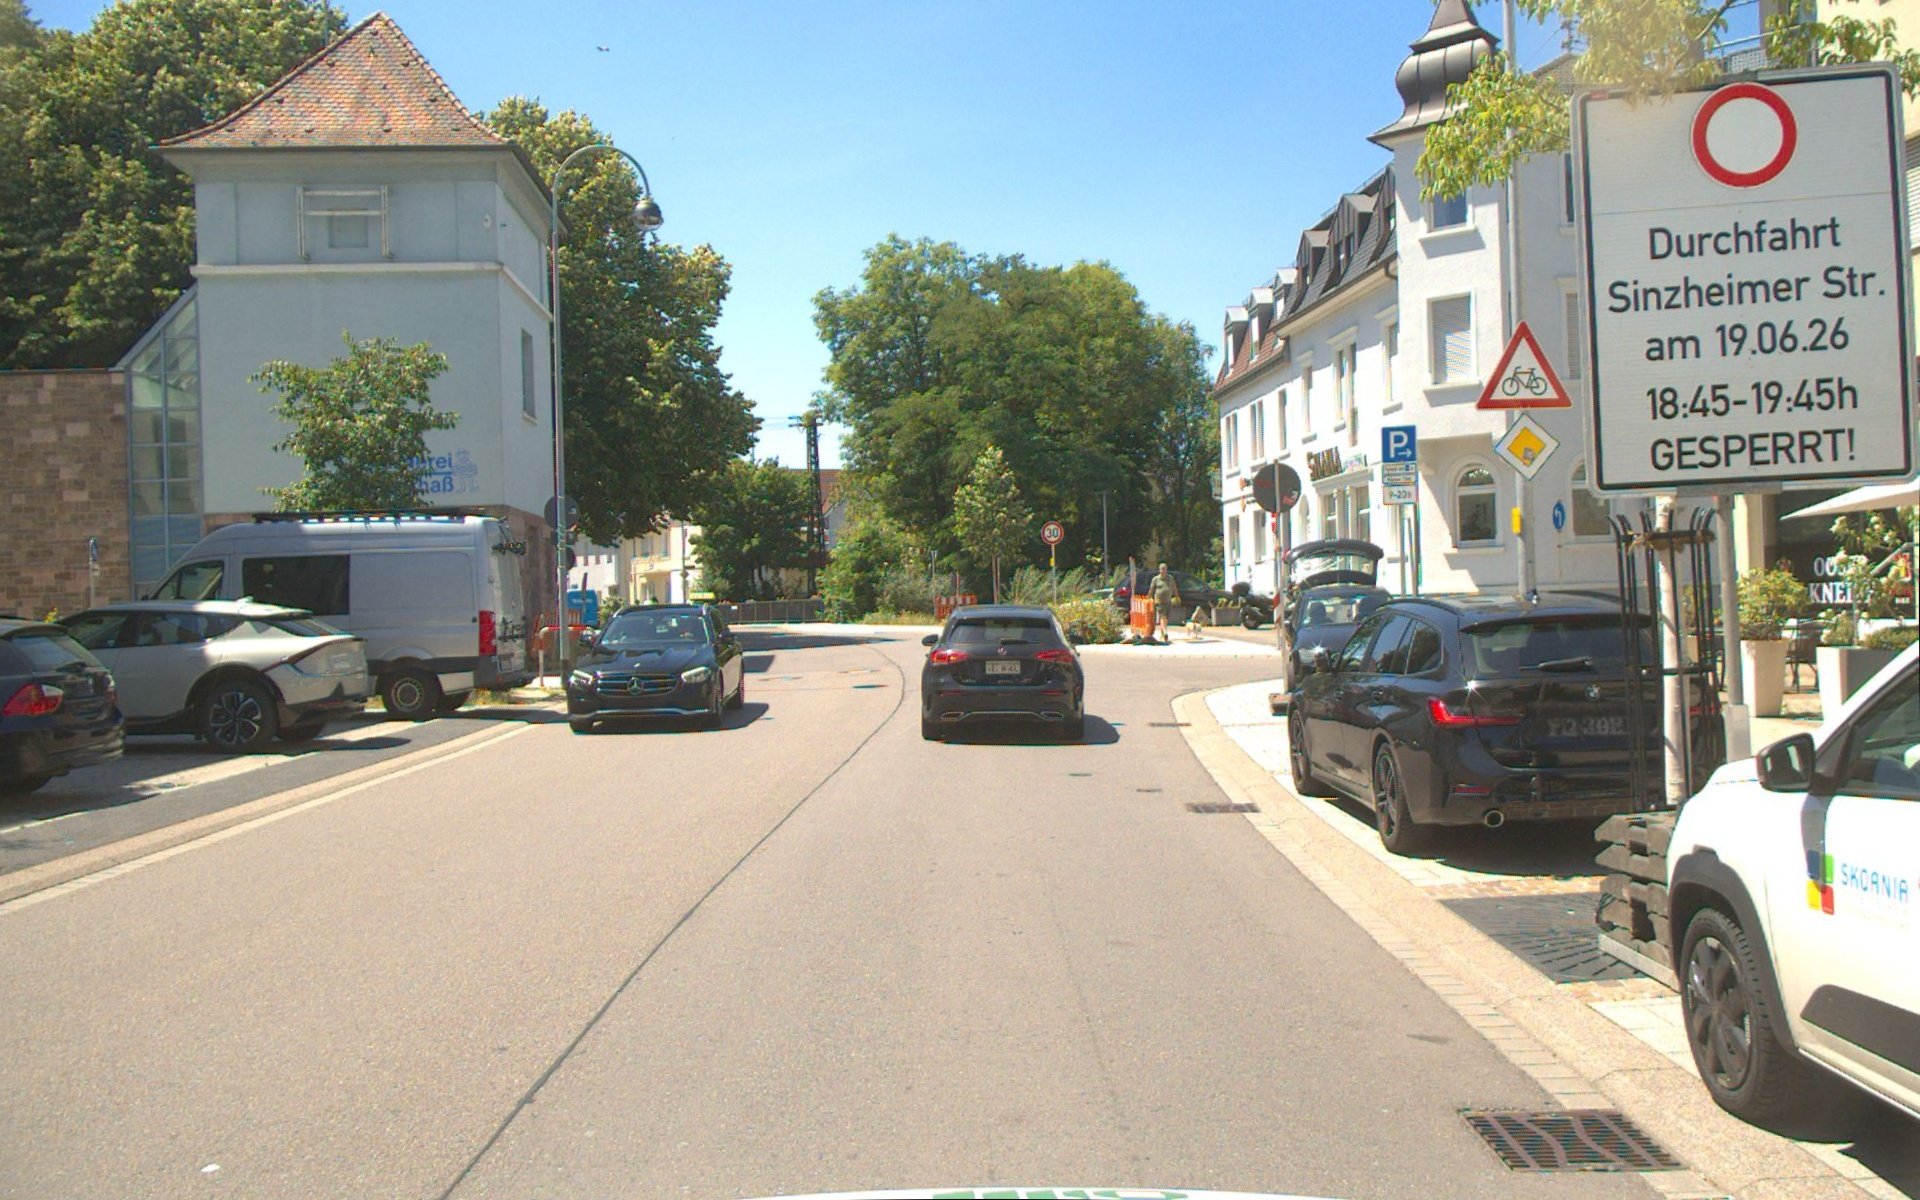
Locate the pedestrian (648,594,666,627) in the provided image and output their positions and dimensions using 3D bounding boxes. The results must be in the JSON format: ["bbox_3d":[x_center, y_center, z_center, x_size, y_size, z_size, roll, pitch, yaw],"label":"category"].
[{"bbox_3d":[-16.682,0.592,91.145,0.690,1.772,0.658,-3,-1,44],"label":"pedestrian"}]

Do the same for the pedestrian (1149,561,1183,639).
[{"bbox_3d":[4.950,-0.018,39.742,0.730,1.827,0.844,-2,1,4],"label":"pedestrian"}]

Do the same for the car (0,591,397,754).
[{"bbox_3d":[-8.532,0.732,17.661,4.365,1.619,1.999,0,-1,-3],"label":"car"}]

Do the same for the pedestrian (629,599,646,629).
[{"bbox_3d":[-17.893,0.773,91.771,0.608,1.641,0.828,-1,-1,-33],"label":"pedestrian"}]

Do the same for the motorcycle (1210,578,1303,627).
[{"bbox_3d":[8.030,0.065,44.883,2.330,1.297,0.855,-1,0,-4],"label":"motorcycle"}]

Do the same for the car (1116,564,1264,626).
[{"bbox_3d":[6.679,-0.134,48.266,3.995,1.746,1.854,0,-1,-5],"label":"car"}]

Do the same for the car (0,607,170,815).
[{"bbox_3d":[-8.422,0.796,12.380,4.120,1.463,1.883,0,-1,-7],"label":"car"}]

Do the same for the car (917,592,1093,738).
[{"bbox_3d":[0.522,0.737,19.092,1.790,1.467,4.000,-1,-2,2],"label":"car"}]

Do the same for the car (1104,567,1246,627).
[{"bbox_3d":[6.497,-0.083,50.190,3.995,1.746,1.854,0,-1,-5],"label":"car"}]

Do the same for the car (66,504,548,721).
[{"bbox_3d":[-8.737,0.159,22.586,5.651,2.780,2.290,0,-1,-2],"label":"car"}]

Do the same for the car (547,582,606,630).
[{"bbox_3d":[-21.794,0.347,93.876,2.108,2.586,4.606,-2,-1,-28],"label":"car"}]

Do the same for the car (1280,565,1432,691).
[{"bbox_3d":[5.507,0.334,23.413,1.832,1.517,3.865,-3,1,11],"label":"car"}]

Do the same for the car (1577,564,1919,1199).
[{"bbox_3d":[2.983,0.642,3.766,1.701,1.511,4.055,-4,-1,2],"label":"car"}]

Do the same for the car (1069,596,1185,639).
[{"bbox_3d":[6.192,0.618,61.197,4.162,1.372,1.835,0,5,-40],"label":"car"}]

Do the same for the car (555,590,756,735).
[{"bbox_3d":[-3.799,0.705,21.443,1.855,1.580,4.797,-1,1,-2],"label":"car"}]

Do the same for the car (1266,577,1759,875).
[{"bbox_3d":[3.282,0.664,10.856,1.689,1.429,4.609,-4,0,1],"label":"car"}]
